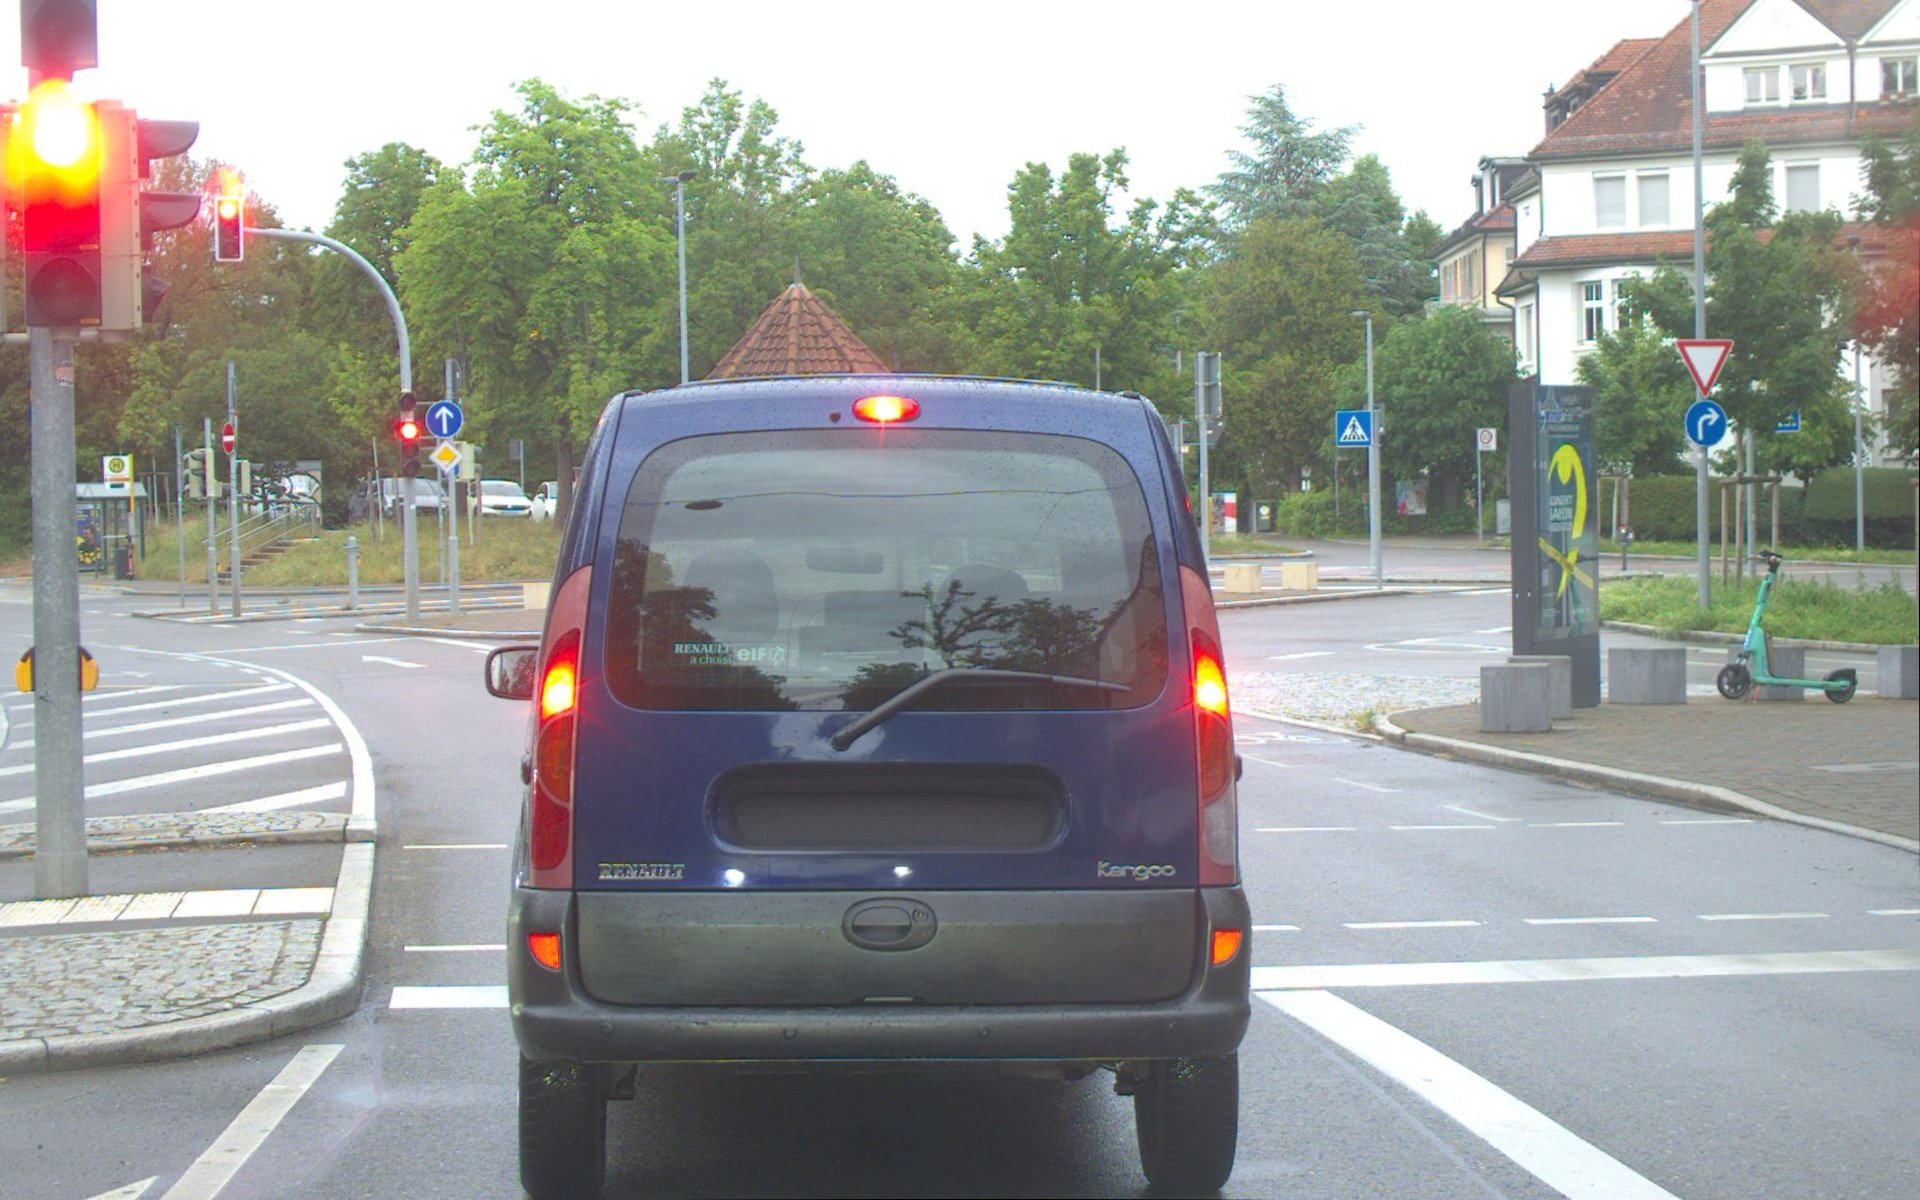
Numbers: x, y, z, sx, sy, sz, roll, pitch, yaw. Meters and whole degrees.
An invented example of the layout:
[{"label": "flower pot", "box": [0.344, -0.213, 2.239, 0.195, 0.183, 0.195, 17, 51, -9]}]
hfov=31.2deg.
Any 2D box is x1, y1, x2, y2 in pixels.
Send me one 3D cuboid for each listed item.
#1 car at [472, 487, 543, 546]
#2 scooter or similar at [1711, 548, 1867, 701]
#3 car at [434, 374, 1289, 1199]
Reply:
[{"label": "car", "box": [-14.469, -2.650, 110.078, 1.993, 1.806, 4.001, 0, 0, -4]}, {"label": "scooter or similar", "box": [6.709, 0.197, 27.848, 1.149, 1.214, 0.406, -1, 0, -1]}, {"label": "car", "box": [-0.281, 0.386, 8.975, 1.731, 1.780, 4.001, 0, 1, -2]}]
